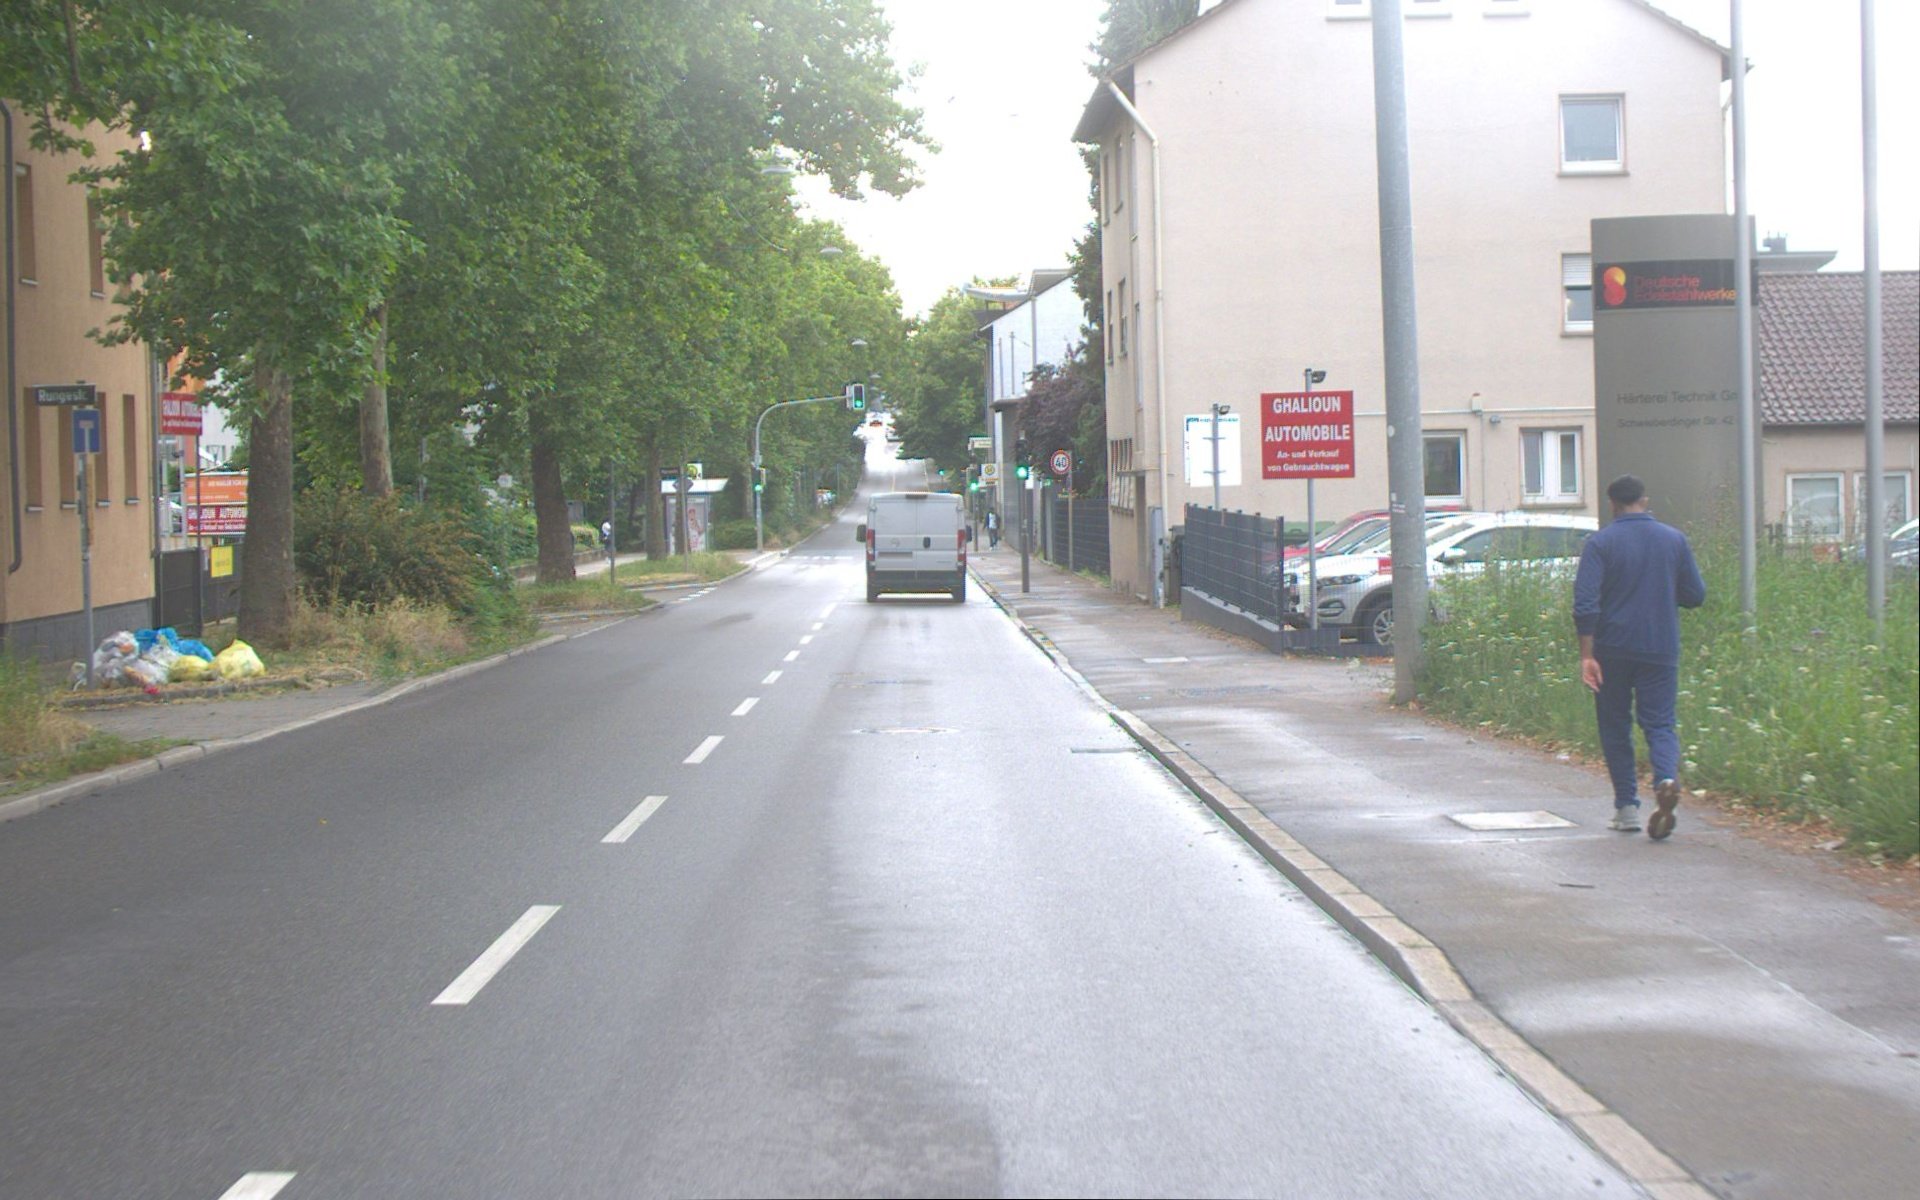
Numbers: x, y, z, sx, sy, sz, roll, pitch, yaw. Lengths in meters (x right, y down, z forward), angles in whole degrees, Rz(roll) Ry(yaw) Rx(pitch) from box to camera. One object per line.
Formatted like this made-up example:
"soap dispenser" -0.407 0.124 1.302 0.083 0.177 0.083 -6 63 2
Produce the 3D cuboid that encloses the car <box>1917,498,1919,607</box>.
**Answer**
"car" 15.354 -0.625 47.386 3.763 1.527 1.759 1 1 -4

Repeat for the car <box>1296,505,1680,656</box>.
"car" 6.325 -0.235 41.562 4.302 1.762 2.000 0 0 -1

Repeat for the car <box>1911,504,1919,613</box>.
"car" 16.193 -0.585 50.178 4.084 1.595 1.795 1 0 -2

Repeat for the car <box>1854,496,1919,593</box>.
"car" 16.821 -0.893 56.600 3.990 1.587 1.820 1 0 17

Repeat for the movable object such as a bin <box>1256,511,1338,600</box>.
"movable object such as a bin" 5.924 -0.779 60.461 1.234 1.504 1.111 -3 0 -1

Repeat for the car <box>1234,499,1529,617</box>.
"car" 6.403 -0.634 52.548 4.228 1.730 1.870 1 0 -1

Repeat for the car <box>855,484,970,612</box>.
"car" -0.976 -1.055 71.008 2.282 2.544 4.000 0 0 -1

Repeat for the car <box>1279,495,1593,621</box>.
"car" 6.830 -0.598 49.637 4.228 1.730 1.870 1 0 -1

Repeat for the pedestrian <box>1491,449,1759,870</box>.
"pedestrian" 3.086 0.267 16.042 1.043 1.891 0.901 -1 0 0

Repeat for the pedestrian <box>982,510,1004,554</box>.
"pedestrian" 1.275 -2.661 134.567 0.742 1.698 0.902 1 0 -6

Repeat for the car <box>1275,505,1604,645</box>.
"car" 6.139 -0.329 44.332 3.948 1.718 1.791 1 1 -1

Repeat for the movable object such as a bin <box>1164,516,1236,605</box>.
"movable object such as a bin" 4.218 -0.698 60.523 1.110 1.504 0.987 -3 0 -1
